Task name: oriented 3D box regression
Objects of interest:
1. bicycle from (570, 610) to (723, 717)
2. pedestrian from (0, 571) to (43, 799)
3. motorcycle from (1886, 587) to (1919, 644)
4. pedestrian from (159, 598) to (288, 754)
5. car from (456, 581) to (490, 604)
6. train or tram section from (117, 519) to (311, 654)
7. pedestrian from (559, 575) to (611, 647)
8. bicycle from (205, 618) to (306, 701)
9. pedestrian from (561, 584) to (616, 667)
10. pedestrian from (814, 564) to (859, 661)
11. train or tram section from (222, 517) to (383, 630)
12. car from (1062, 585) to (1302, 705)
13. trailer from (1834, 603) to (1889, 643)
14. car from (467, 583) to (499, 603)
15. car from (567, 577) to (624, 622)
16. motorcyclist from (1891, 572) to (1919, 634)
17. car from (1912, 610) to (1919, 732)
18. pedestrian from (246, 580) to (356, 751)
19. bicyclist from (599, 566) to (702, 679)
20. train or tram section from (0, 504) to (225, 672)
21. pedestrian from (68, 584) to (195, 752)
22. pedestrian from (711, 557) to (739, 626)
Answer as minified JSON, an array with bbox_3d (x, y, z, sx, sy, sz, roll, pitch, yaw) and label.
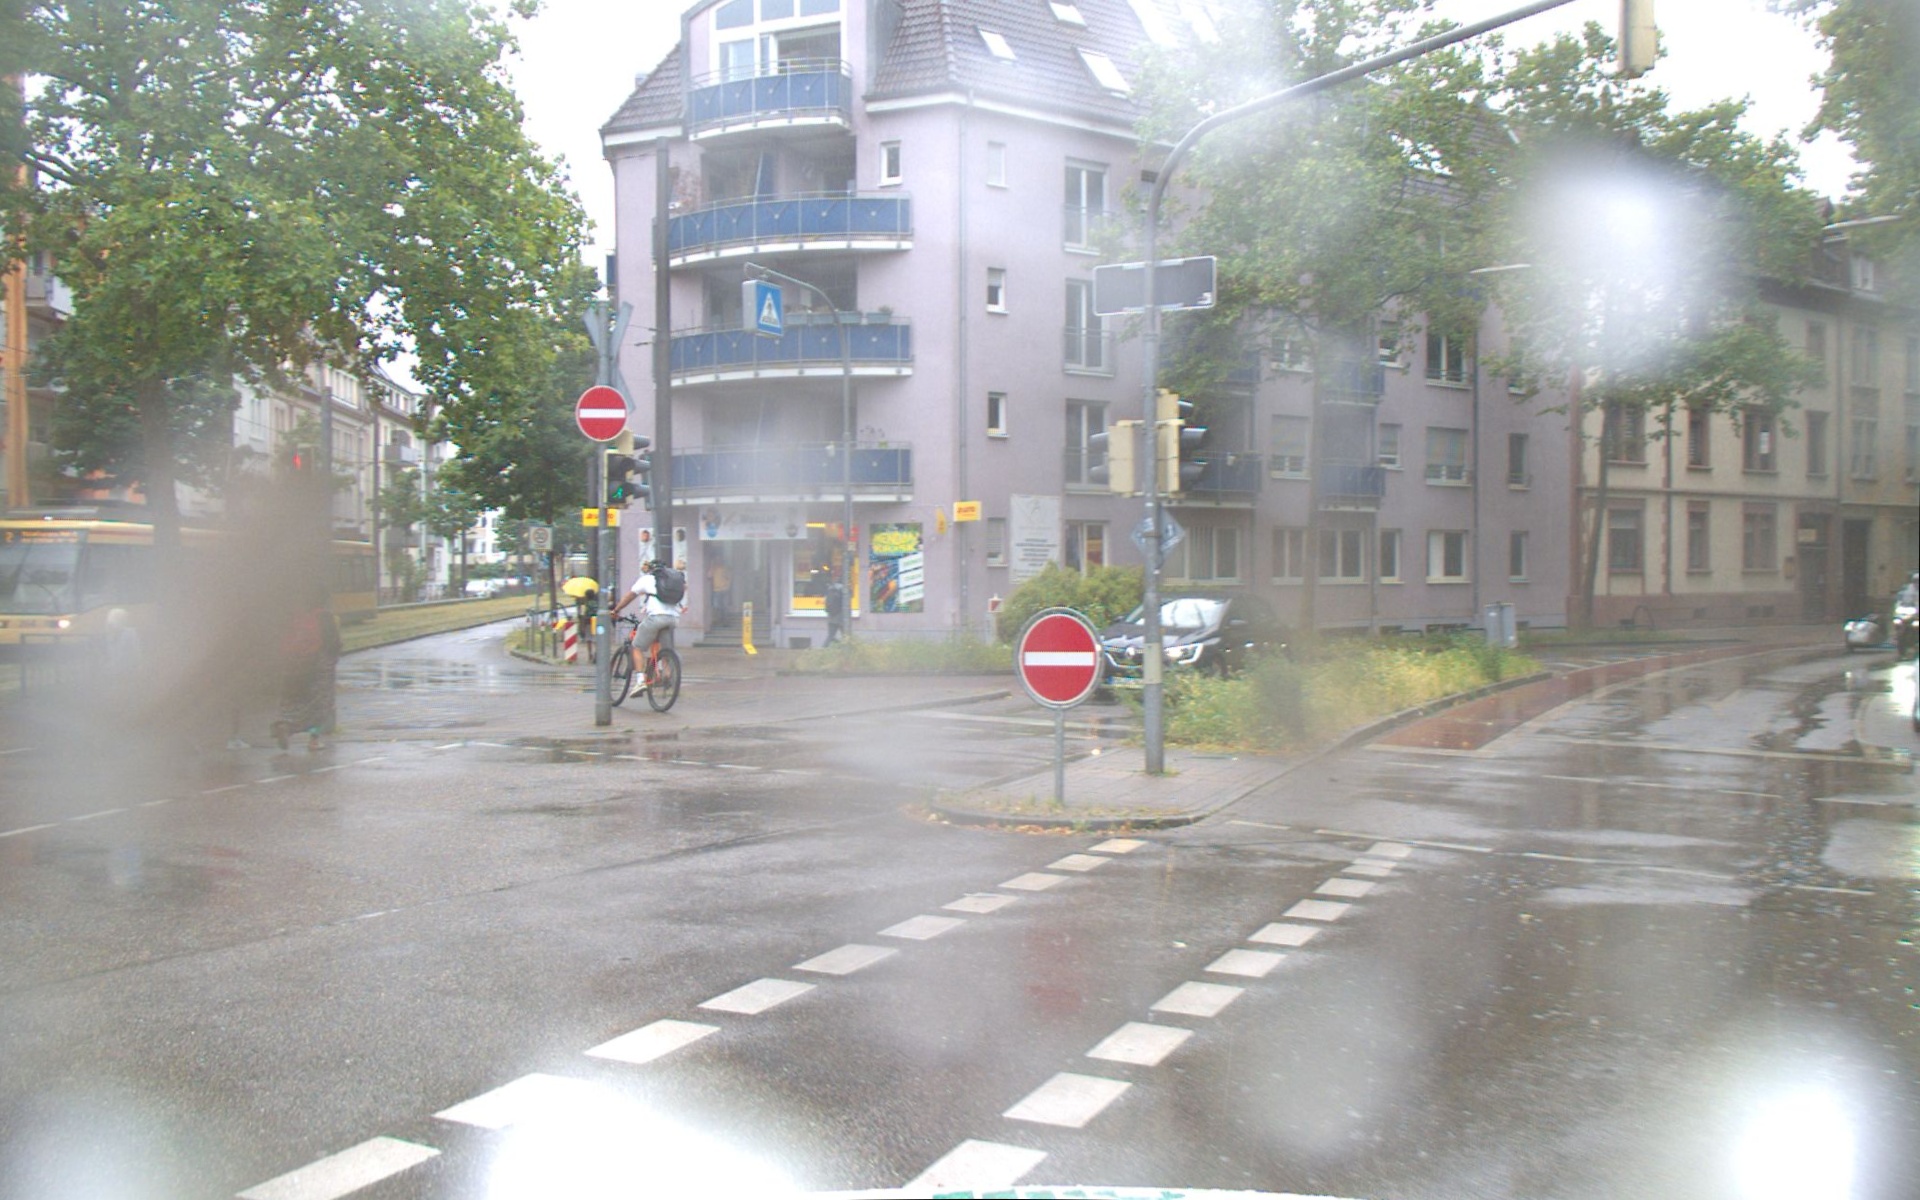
[{"bbox_3d":[-3.838,0.744,20.178,2.004,1.193,0.749,1,2,41],"label":"bicycle"},{"bbox_3d":[-7.773,0.650,12.527,0.972,1.715,1.056,0,1,22],"label":"pedestrian"},{"bbox_3d":[21.305,0.326,37.072,0.862,1.236,2.069,0,1,32],"label":"motorcycle"},{"bbox_3d":[-6.991,0.699,15.747,0.657,1.405,1.011,0,1,9],"label":"pedestrian"},{"bbox_3d":[-33.910,-0.506,115.184,1.958,1.559,3.988,0,1,-12],"label":"car"},{"bbox_3d":[-20.636,-0.383,46.319,2.587,3.410,8.363,0,1,-7],"label":"train or tram section"},{"bbox_3d":[-9.700,0.274,42.773,1.149,1.819,0.887,0,1,-27],"label":"pedestrian"},{"bbox_3d":[-9.994,0.822,23.513,0.435,1.095,1.620,0,1,14],"label":"bicycle"},{"bbox_3d":[-7.288,0.489,32.461,0.973,1.586,0.783,-1,1,-8],"label":"pedestrian"},{"bbox_3d":[-2.354,0.229,31.556,0.628,1.835,0.621,0,1,27],"label":"pedestrian"},{"bbox_3d":[-21.790,-0.853,55.445,2.587,3.410,9.972,0,1,-7],"label":"train or tram section"},{"bbox_3d":[3.215,0.544,23.210,1.951,1.486,4.170,1,1,29],"label":"car"},{"bbox_3d":[20.508,0.508,37.616,1.005,0.856,1.479,1,1,32],"label":"trailer"},{"bbox_3d":[-34.832,-0.545,120.894,1.958,1.422,3.988,0,1,-12],"label":"car"},{"bbox_3d":[-14.575,-0.040,66.318,1.956,1.702,3.992,-1,1,-9],"label":"car"},{"bbox_3d":[21.329,0.070,37.111,0.742,1.374,0.753,0,0,32],"label":"motorcyclist"},{"bbox_3d":[10.957,0.786,16.975,1.860,1.297,4.167,0,0,28],"label":"car"},{"bbox_3d":[-6.237,0.603,15.683,0.675,1.574,0.762,0,1,5],"label":"pedestrian"},{"bbox_3d":[-3.766,0.251,20.104,1.057,1.332,0.738,1,2,41],"label":"bicyclist"},{"bbox_3d":[-19.656,-0.287,38.021,2.587,3.428,8.365,0,1,-6],"label":"train or tram section"},{"bbox_3d":[-8.030,0.634,16.080,0.860,1.552,1.061,0,1,-13],"label":"pedestrian"},{"bbox_3d":[-5.618,-0.202,39.528,0.461,1.630,0.594,0,0,18],"label":"pedestrian"}]
